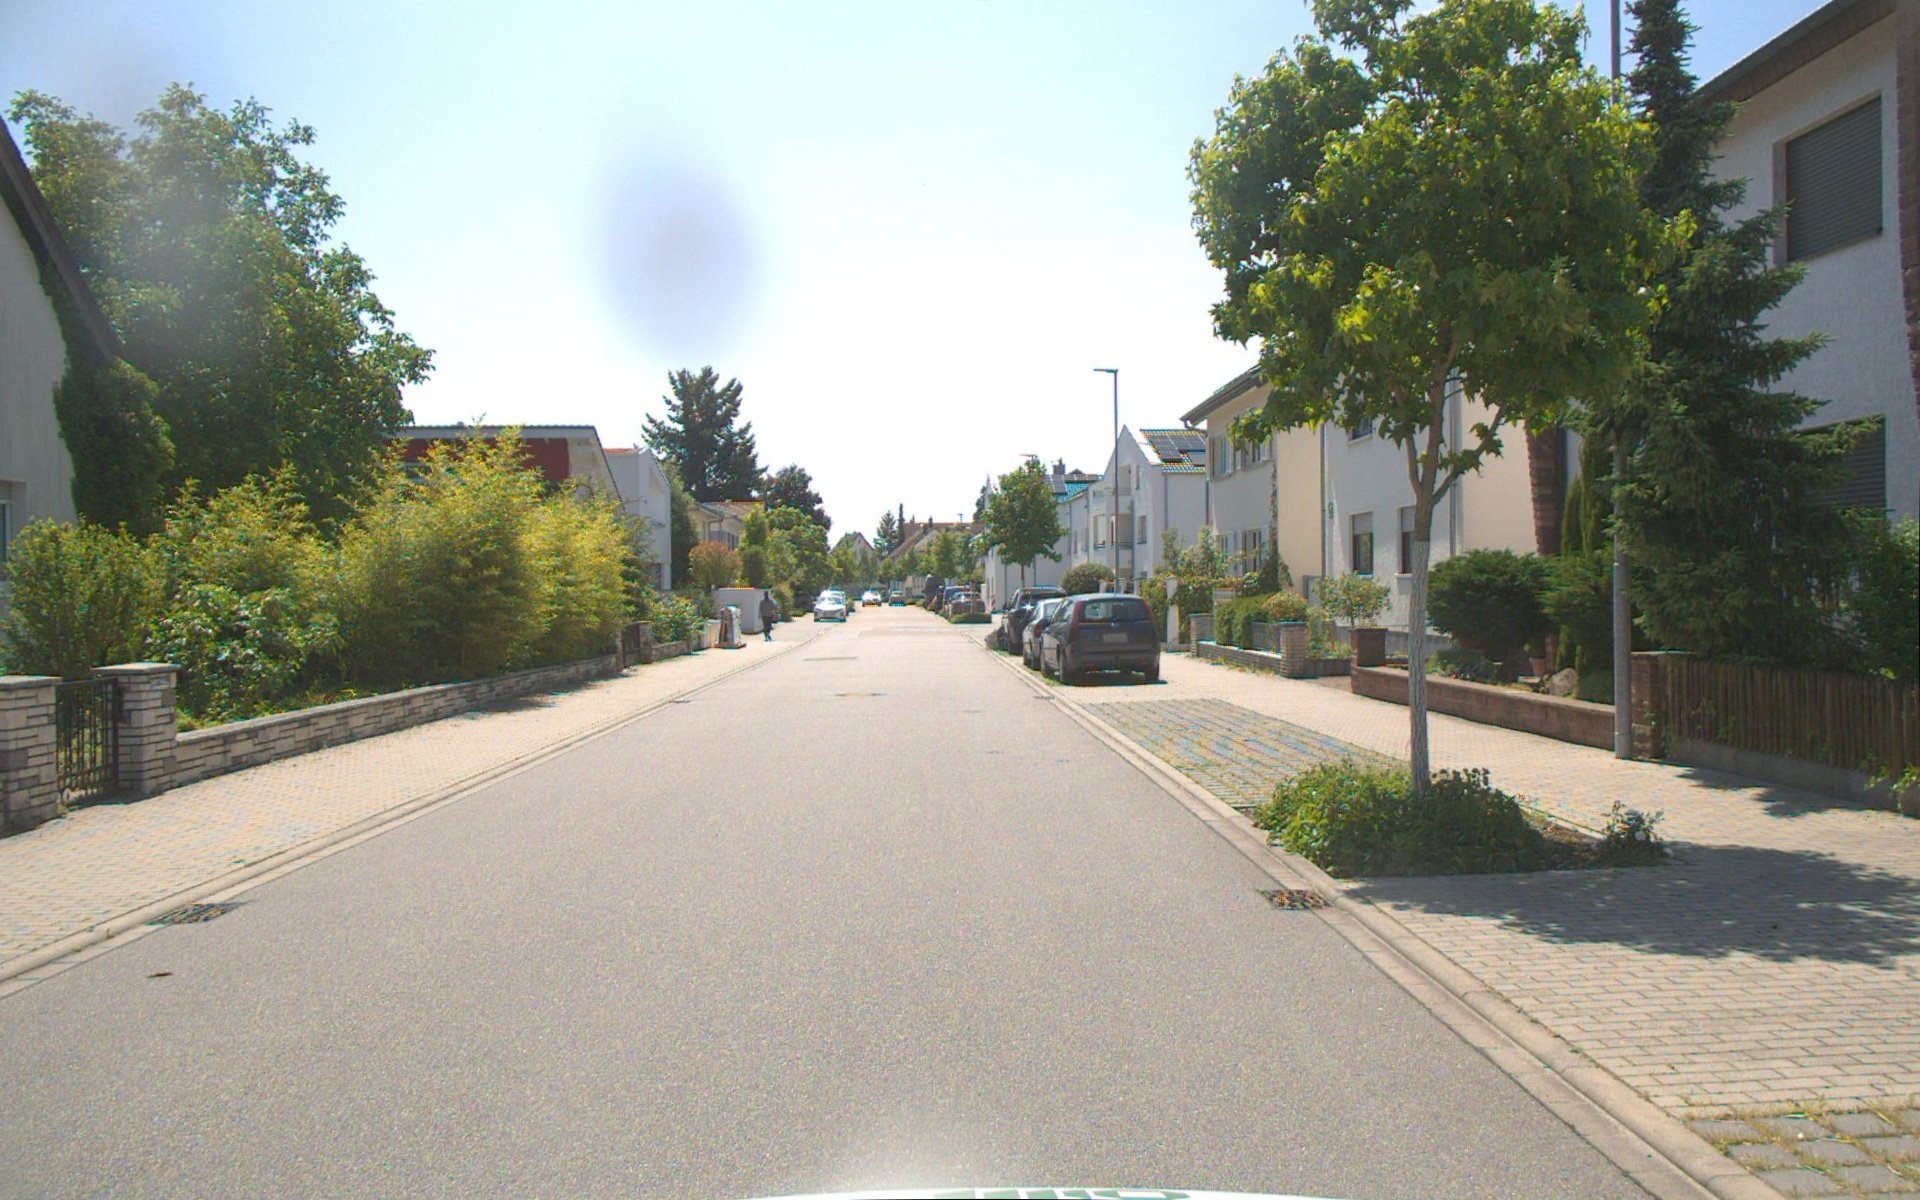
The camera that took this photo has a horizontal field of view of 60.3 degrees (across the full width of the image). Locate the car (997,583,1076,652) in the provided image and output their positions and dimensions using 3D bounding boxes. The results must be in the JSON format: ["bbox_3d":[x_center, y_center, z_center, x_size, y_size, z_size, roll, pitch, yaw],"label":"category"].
[{"bbox_3d":[2.013,0.425,44.484,1.777,1.685,4.563,-1,1,-1],"label":"car"}]

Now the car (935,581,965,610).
[{"bbox_3d":[-0.720,-0.319,118.886,1.953,1.981,5.212,-2,0,-2],"label":"car"}]

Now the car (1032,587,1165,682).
[{"bbox_3d":[2.393,0.558,29.628,1.707,1.560,4.445,-1,0,-4],"label":"car"}]

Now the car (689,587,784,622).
[{"bbox_3d":[-11.003,0.198,81.584,4.337,1.499,1.851,3,0,1],"label":"car"}]

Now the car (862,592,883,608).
[{"bbox_3d":[-8.712,-0.041,165.263,1.815,1.504,4.699,-1,0,-1],"label":"car"}]

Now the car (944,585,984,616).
[{"bbox_3d":[0.190,0.012,87.820,1.738,1.623,4.275,-1,0,-5],"label":"car"}]

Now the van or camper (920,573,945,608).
[{"bbox_3d":[-2.409,-0.847,143.692,1.954,2.993,3.998,-1,0,-3],"label":"van or camper"}]

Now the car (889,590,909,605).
[{"bbox_3d":[-6.213,-0.241,168.788,1.953,1.455,4.000,-1,0,-1],"label":"car"}]

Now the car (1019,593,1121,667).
[{"bbox_3d":[2.284,0.589,35.272,1.777,1.445,4.092,-1,1,-1],"label":"car"}]

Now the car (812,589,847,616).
[{"bbox_3d":[-7.572,0.104,96.014,1.815,1.514,4.383,-1,0,-2],"label":"car"}]

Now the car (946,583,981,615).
[{"bbox_3d":[0.205,-0.076,104.617,2.057,1.915,4.841,-1,0,-1],"label":"car"}]

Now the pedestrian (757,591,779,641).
[{"bbox_3d":[-6.888,0.558,59.317,0.700,1.777,0.960,-1,0,-2],"label":"pedestrian"}]
